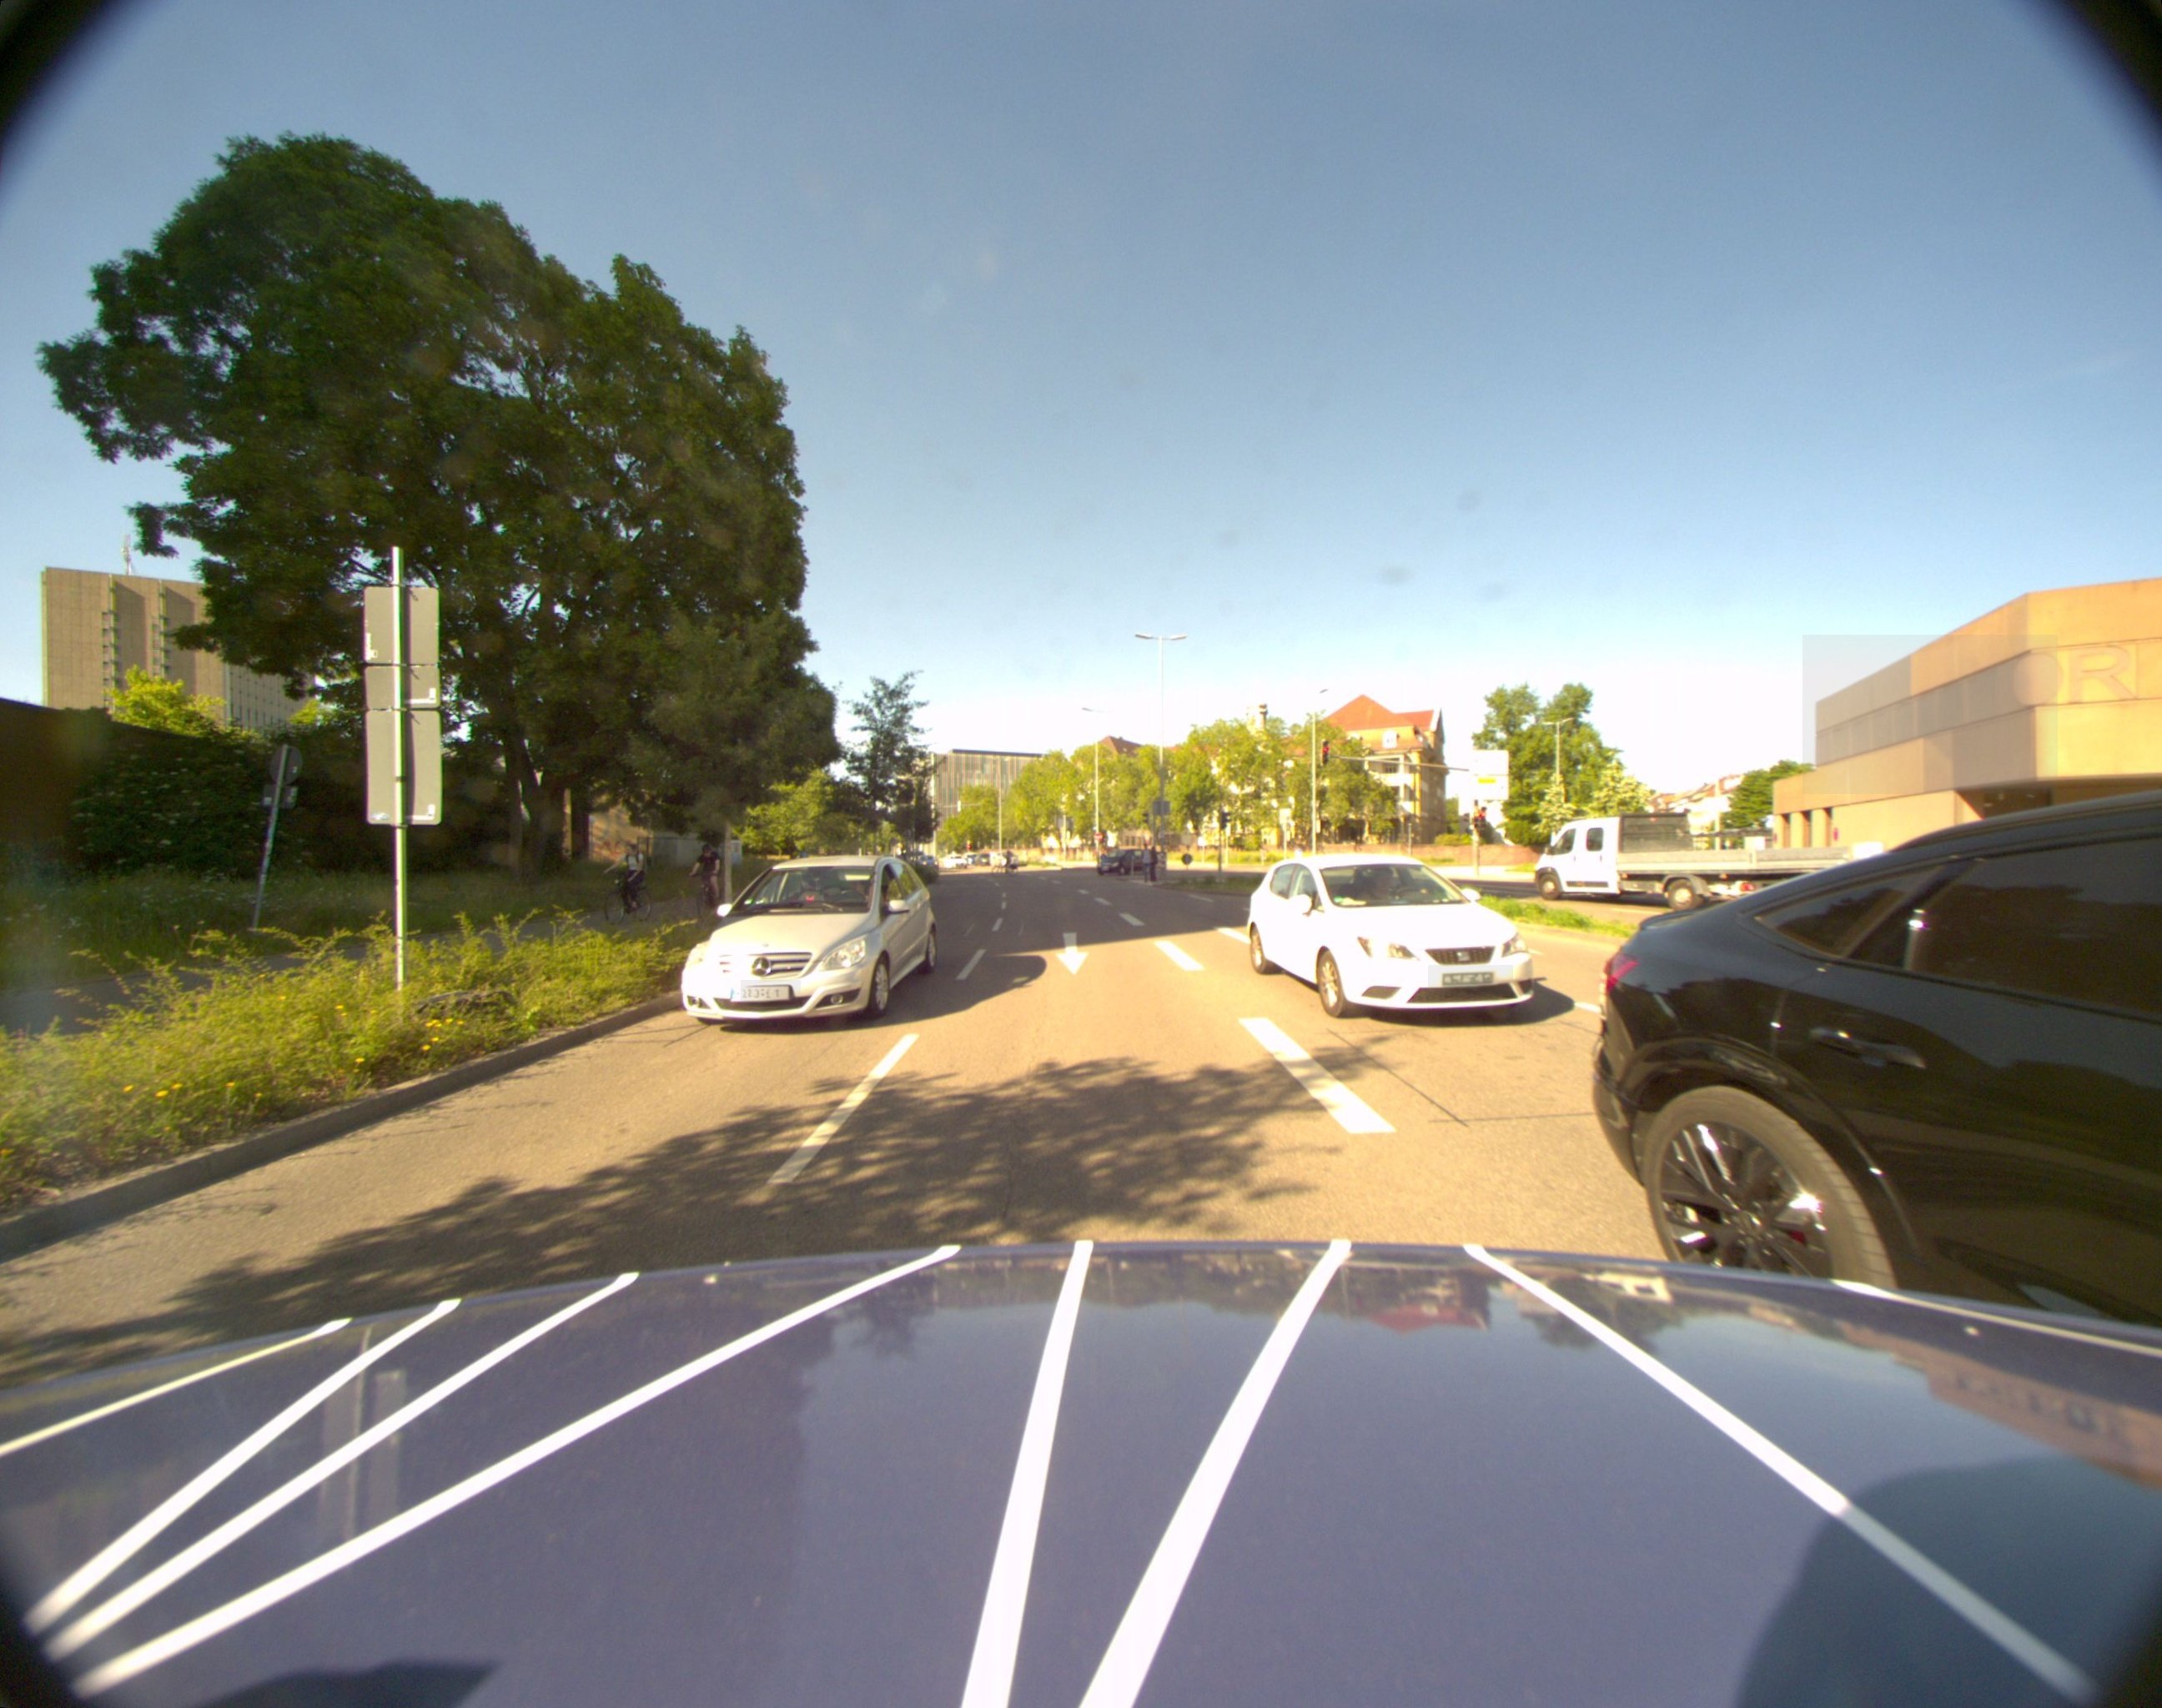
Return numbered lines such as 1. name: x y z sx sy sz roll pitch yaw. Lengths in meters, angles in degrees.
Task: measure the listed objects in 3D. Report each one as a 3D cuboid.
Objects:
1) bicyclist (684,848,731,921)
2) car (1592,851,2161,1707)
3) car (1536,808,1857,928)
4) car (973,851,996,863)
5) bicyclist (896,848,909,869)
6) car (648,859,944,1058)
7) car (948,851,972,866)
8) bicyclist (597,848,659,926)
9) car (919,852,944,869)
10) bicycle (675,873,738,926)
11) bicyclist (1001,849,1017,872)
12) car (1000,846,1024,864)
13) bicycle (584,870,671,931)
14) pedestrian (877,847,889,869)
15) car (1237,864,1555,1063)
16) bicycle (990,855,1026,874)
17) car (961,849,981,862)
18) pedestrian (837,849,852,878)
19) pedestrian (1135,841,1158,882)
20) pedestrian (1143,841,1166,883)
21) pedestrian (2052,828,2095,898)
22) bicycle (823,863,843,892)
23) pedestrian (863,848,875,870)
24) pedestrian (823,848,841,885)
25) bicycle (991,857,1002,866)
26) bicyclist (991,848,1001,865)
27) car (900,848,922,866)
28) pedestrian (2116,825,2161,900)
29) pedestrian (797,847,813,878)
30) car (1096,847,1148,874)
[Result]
1. bicyclist: -8.544 0.680 17.419 0.627 1.628 0.994 0 1 -4
2. car: 2.734 0.819 0.494 1.858 1.606 4.453 -1 1 1
3. car: 13.897 0.241 17.923 2.116 2.300 6.210 -1 1 -6
4. car: -10.594 0.298 83.371 1.586 1.198 3.992 -3 2 -20
5. bicyclist: -10.906 0.267 46.479 0.723 1.272 0.906 1 1 -13
6. car: -2.817 0.913 8.571 1.785 1.615 4.042 -2 0 -1
7. car: -11.937 0.450 74.841 1.754 1.370 3.568 -1 1 -18
8. bicyclist: -9.593 0.673 16.113 0.687 1.589 0.977 2 1 0
9. car: -14.153 0.569 71.825 1.754 1.467 3.568 -3 1 -19
10. bicycle: -8.538 1.008 17.388 0.627 1.107 1.850 0 1 -4
11. bicyclist: -4.722 0.423 49.758 0.848 1.465 0.764 -1 1 -25
12. car: -6.840 0.104 75.052 1.527 1.669 3.375 -2 0 -21
13. bicycle: -9.596 0.950 16.171 0.687 1.157 1.883 2 1 0
14. pedestrian: -17.439 0.383 66.836 0.823 1.906 0.770 -3 1 -26
15. car: 2.836 0.873 7.749 1.575 1.410 3.712 -2 1 -2
16. bicycle: -4.778 0.676 49.729 2.127 1.168 0.764 -3 2 -25
17. car: -13.069 0.176 90.082 1.598 1.596 3.066 -1 0 -22
18. pedestrian: -13.178 0.498 42.302 0.694 1.595 0.660 -1 1 -27
19. pedestrian: 3.003 0.349 34.710 0.887 1.814 0.776 -2 1 -4
20. pedestrian: 3.232 0.347 33.503 0.756 1.814 0.775 -2 1 -14
21. pedestrian: 25.298 0.224 19.373 0.467 1.766 0.647 0 1 32
22. bicycle: -9.745 0.904 29.865 0.518 1.039 1.766 1 1 -12
23. pedestrian: -18.585 0.431 66.492 0.823 1.906 0.770 -3 1 -26
24. pedestrian: -9.722 0.476 29.672 0.518 1.394 0.960 1 1 -12
25. bicycle: -7.880 0.689 70.691 0.591 0.884 1.652 -3 1 -20
26. bicyclist: -7.904 0.198 70.694 0.696 1.549 0.814 -3 1 -20
27. car: -17.461 0.274 77.866 1.830 1.842 3.746 -1 0 -18
28. pedestrian: 25.503 0.202 18.270 0.618 1.766 0.644 -2 1 -44
29. pedestrian: -14.670 0.448 40.416 0.694 1.595 0.660 -1 1 -27
30. car: 2.528 0.362 46.282 1.647 1.601 3.496 0 1 32
